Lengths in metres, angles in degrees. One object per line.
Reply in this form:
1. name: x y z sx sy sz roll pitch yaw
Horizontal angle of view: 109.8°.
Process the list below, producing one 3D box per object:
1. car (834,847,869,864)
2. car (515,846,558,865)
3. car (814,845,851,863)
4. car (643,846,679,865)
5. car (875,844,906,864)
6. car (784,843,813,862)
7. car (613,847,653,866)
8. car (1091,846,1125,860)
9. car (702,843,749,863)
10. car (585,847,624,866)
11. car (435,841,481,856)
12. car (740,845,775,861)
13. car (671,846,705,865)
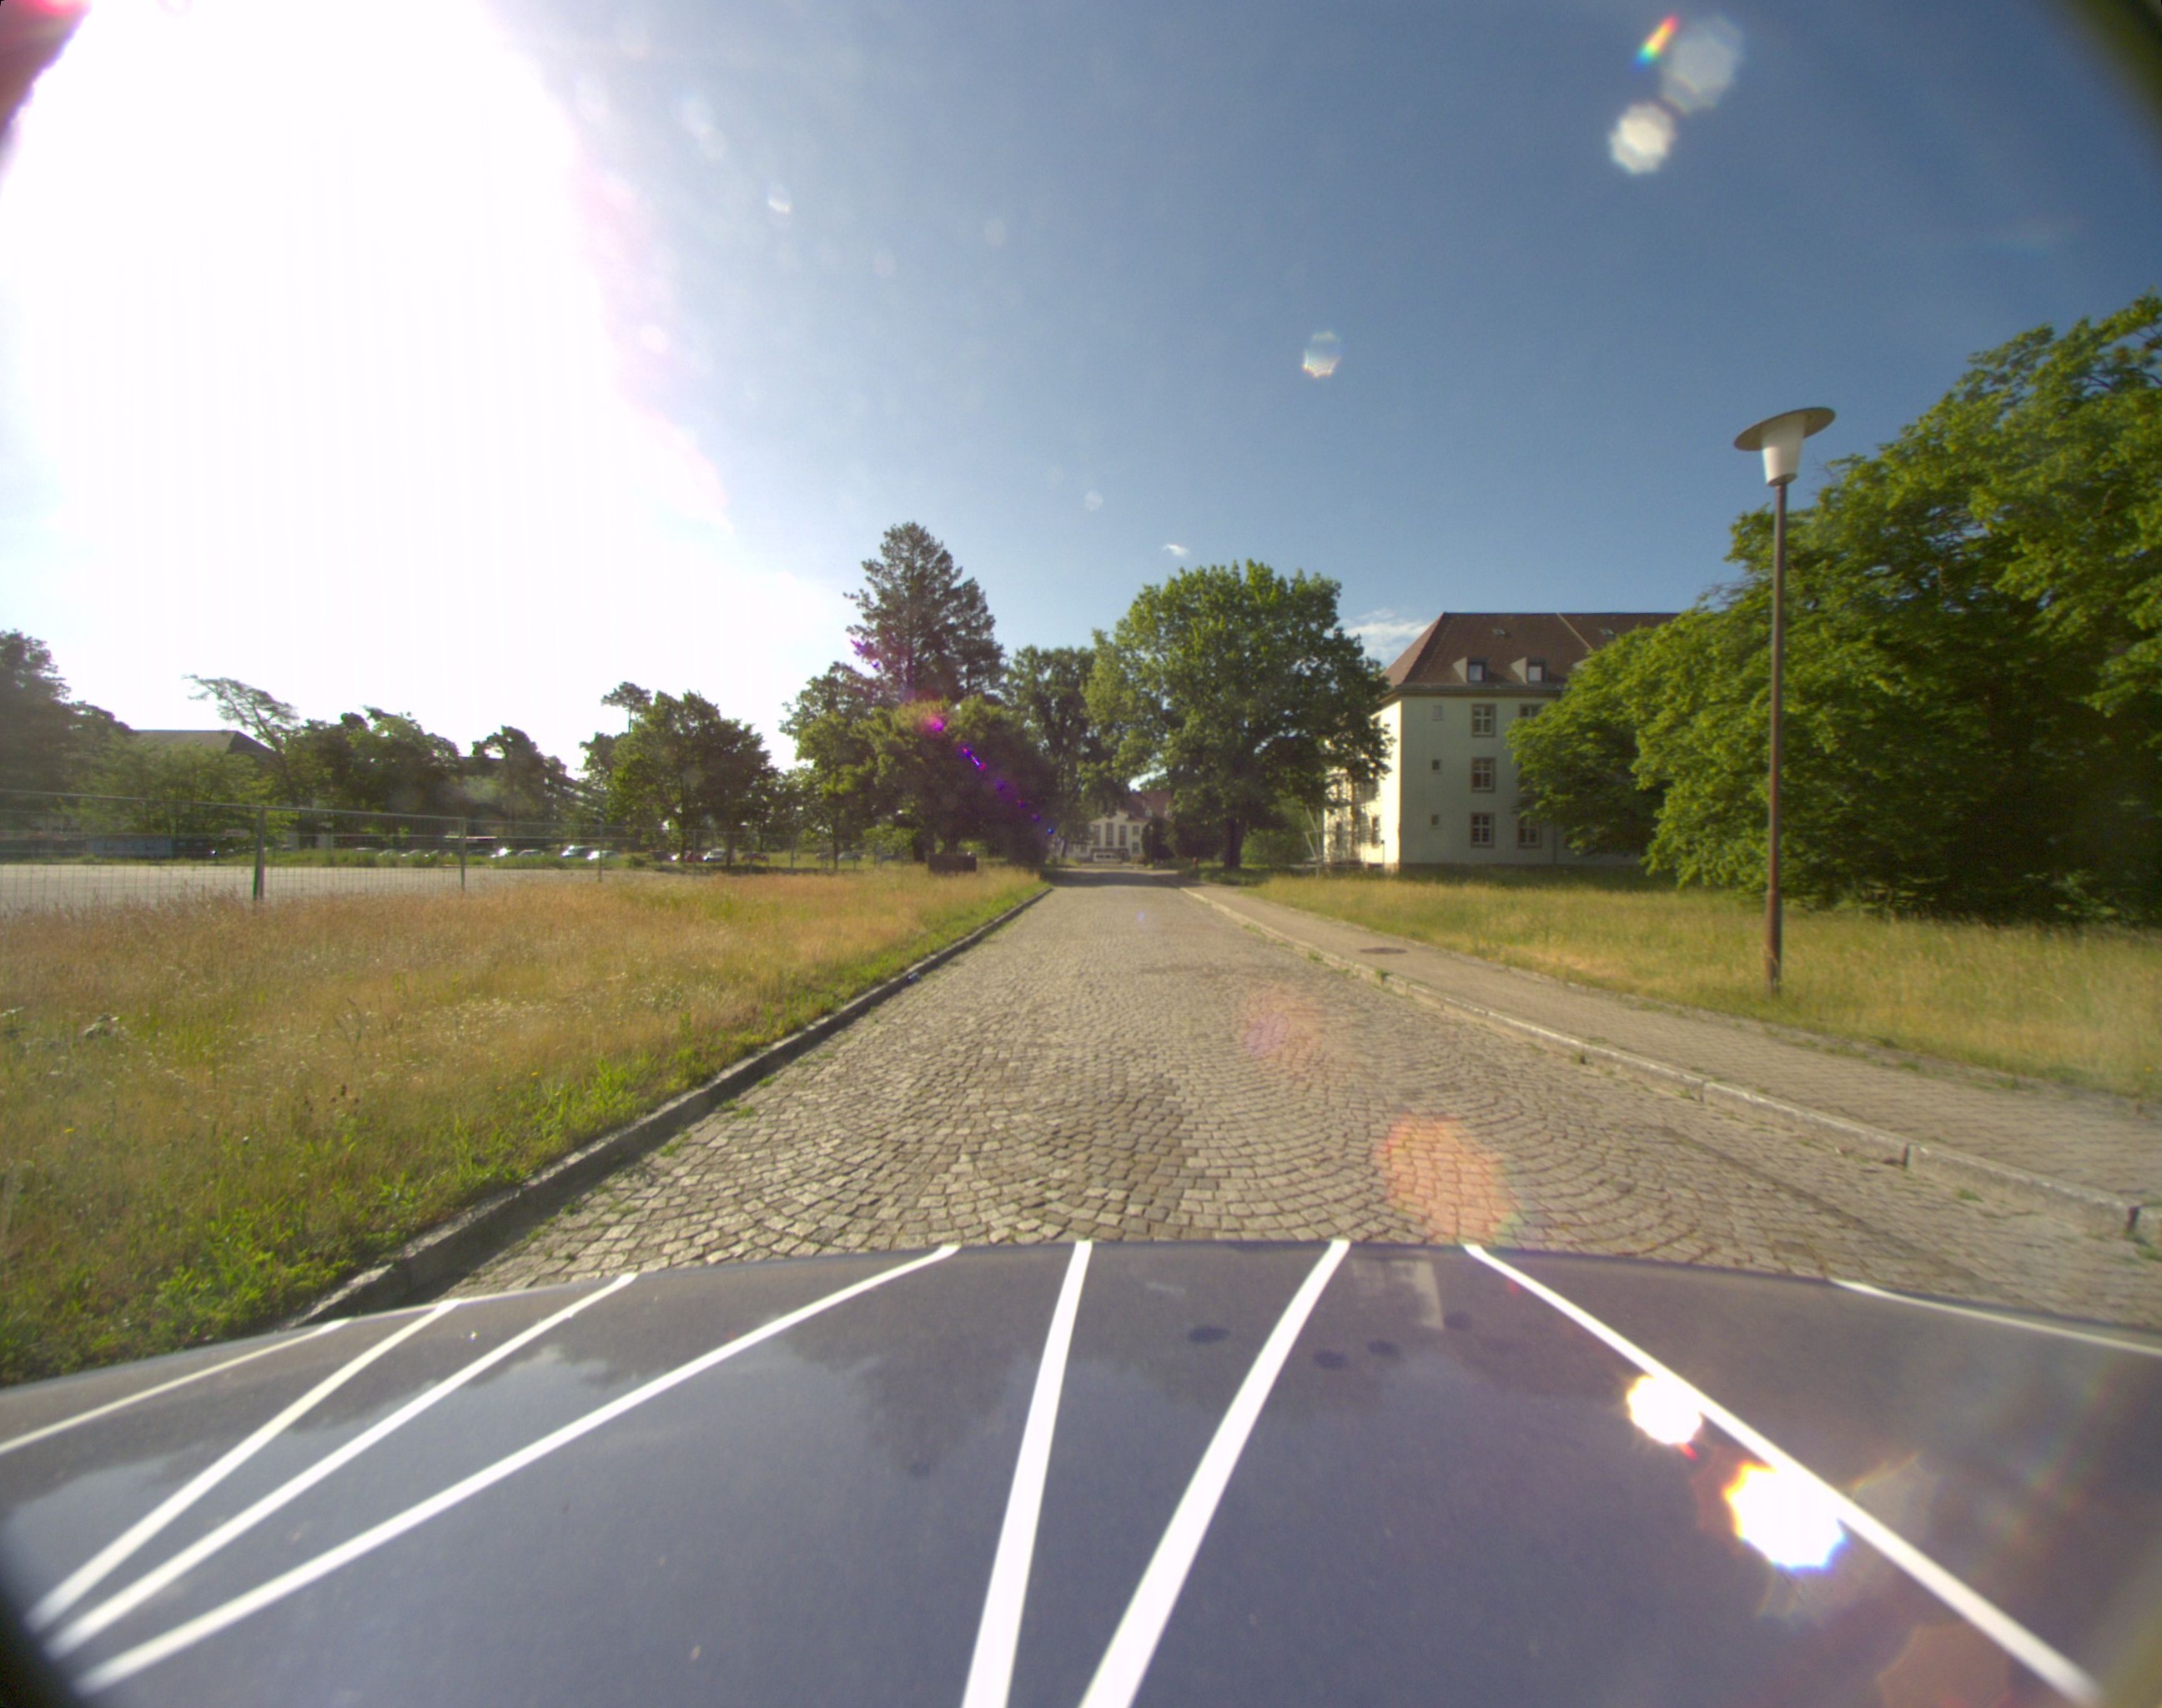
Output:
1. car: -24.567 0.139 81.576 2.245 1.828 4.350 1 1 3
2. car: -59.271 0.118 82.759 1.741 2.002 3.852 1 1 4
3. car: -26.899 -0.024 82.469 2.244 1.828 4.351 1 1 6
4. car: -45.309 0.166 82.061 1.741 2.002 3.619 1 1 1
5. car: -20.301 -0.016 81.177 2.246 2.002 4.348 1 1 -1
6. car: -30.802 -0.134 82.873 1.741 2.002 3.619 1 1 1
7. car: -49.186 0.297 83.541 1.998 2.002 4.000 0 0 0
8. car: 5.170 -0.176 144.120 6.444 2.452 2.463 1 1 3
9. car: -38.701 -0.152 82.933 1.998 2.002 6.033 -1 2 2
10. car: -51.515 0.282 82.205 1.741 2.002 3.851 1 1 1
11. car: -67.828 -0.587 82.790 1.741 1.649 3.852 1 1 4
12. car: -34.946 -0.130 82.114 1.998 1.642 4.000 1 1 1
13. car: -42.495 0.105 82.299 1.741 2.002 3.619 1 1 1
